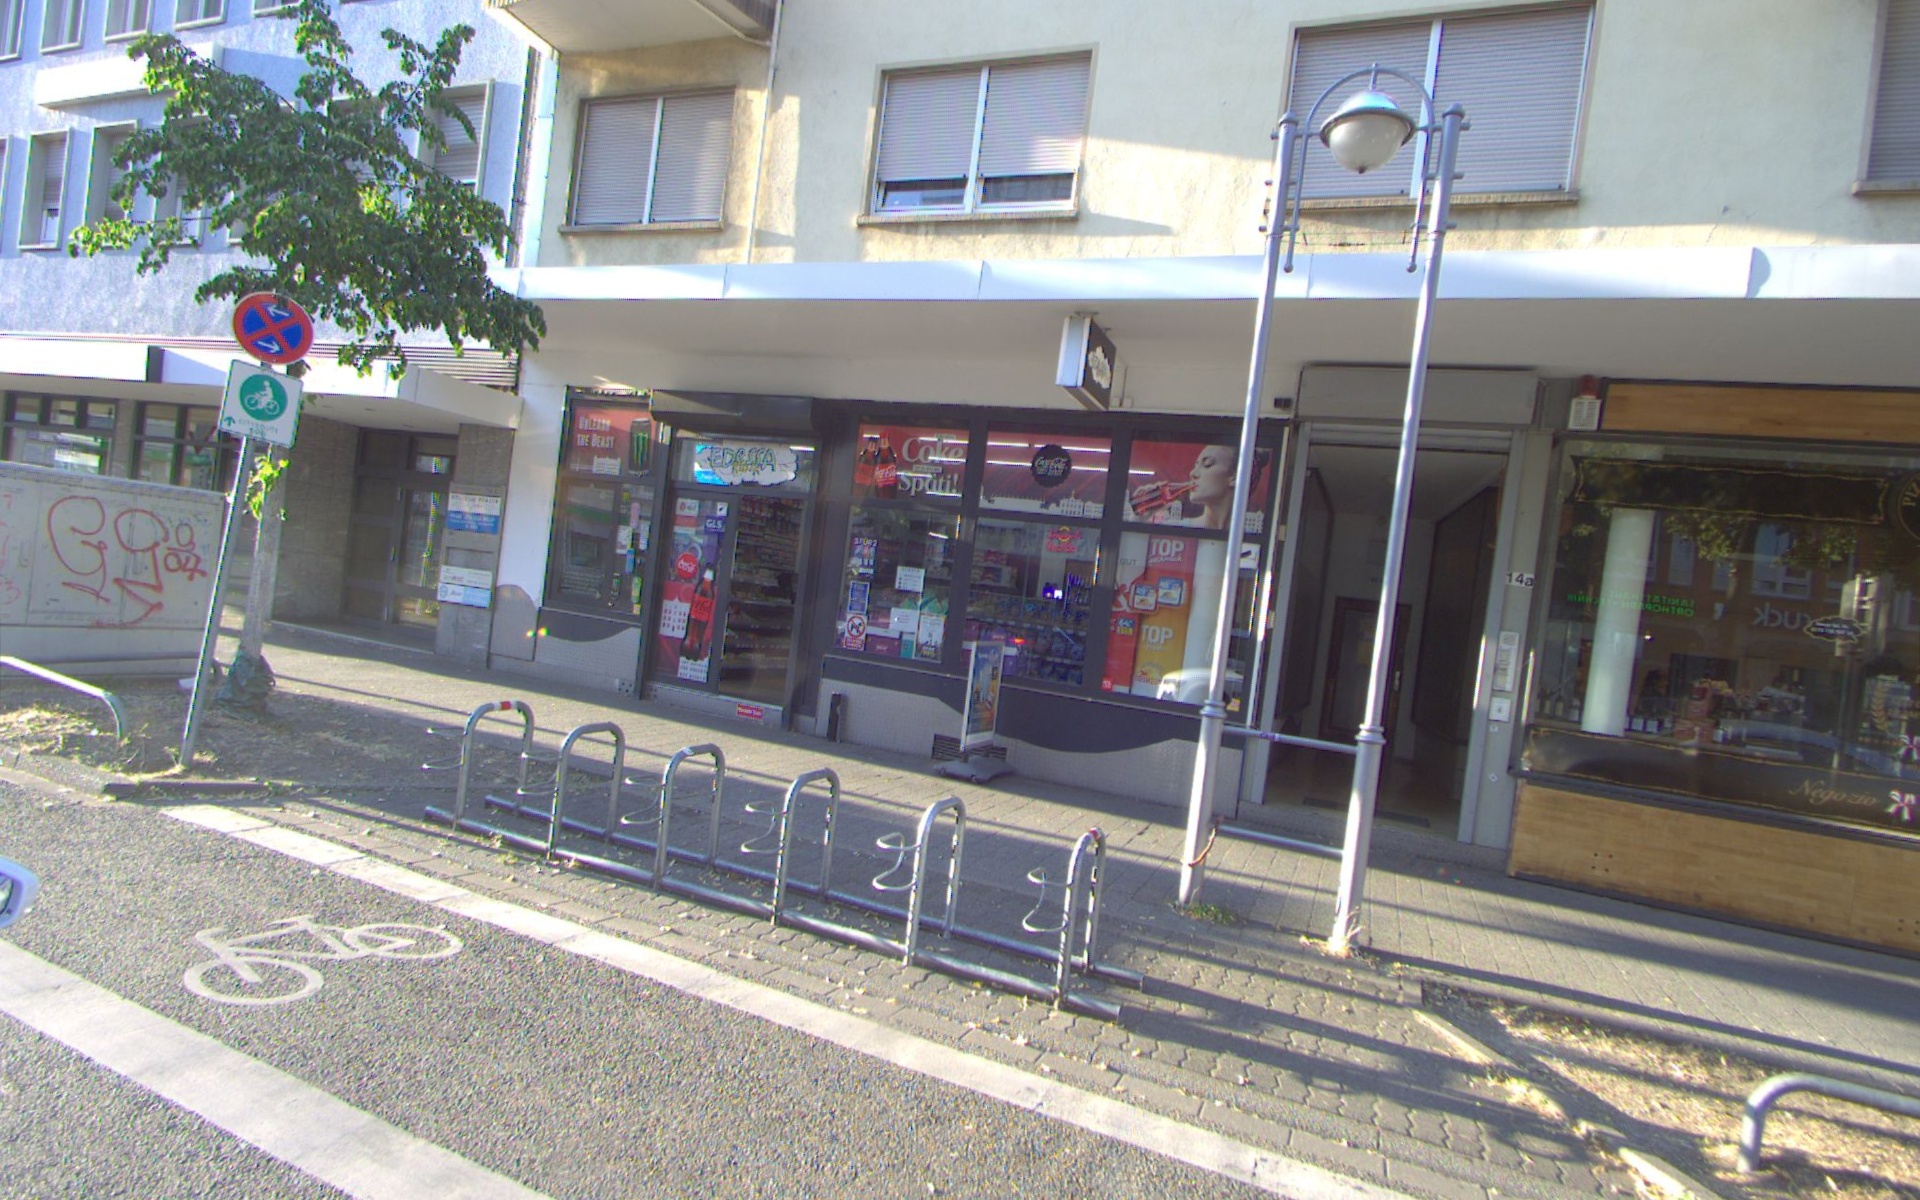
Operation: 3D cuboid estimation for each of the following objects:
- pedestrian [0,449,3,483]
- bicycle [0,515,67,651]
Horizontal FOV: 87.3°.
[{"bbox_3d":[-13.886,-1.230,13.767,0.666,1.865,0.837,7,1,24],"label":"pedestrian"},{"bbox_3d":[-9.164,-0.204,9.129,0.376,1.234,1.446,7,-1,25],"label":"bicycle"}]
